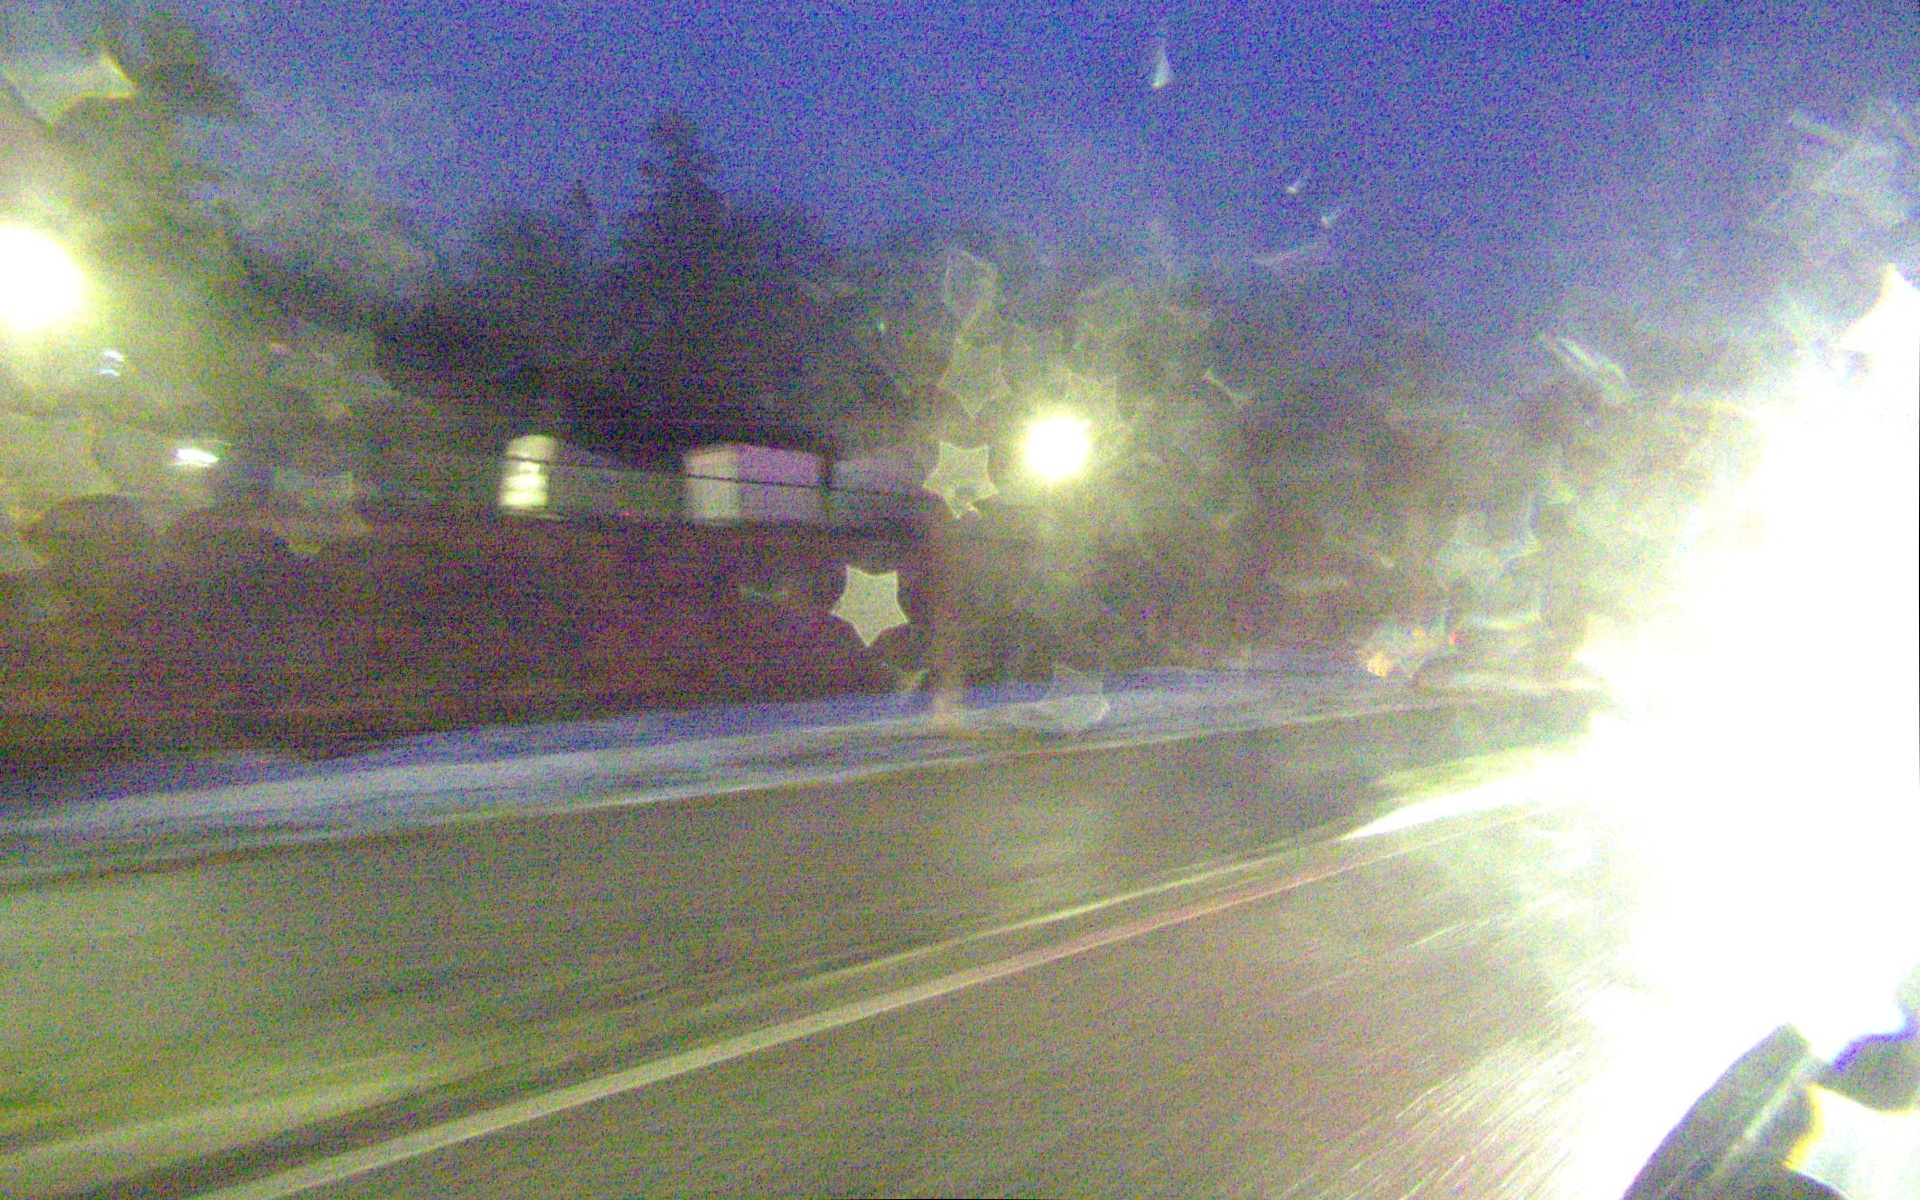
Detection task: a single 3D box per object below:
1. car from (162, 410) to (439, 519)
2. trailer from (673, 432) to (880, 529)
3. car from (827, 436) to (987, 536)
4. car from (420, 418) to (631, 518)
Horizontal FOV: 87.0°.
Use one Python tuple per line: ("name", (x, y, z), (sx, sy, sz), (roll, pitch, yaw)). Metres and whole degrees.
("car", (-11.878, -2.360, 18.463), (1.608, 1.491, 3.949), (0, 1, 36))
("trailer", (-4.919, -3.172, 28.005), (2.221, 2.097, 5.643), (1, 1, 38))
("car", (-1.582, -3.525, 32.420), (2.110, 2.668, 5.376), (1, 1, 38))
("car", (-9.273, -2.753, 21.879), (1.608, 1.660, 3.949), (0, 1, 36))
